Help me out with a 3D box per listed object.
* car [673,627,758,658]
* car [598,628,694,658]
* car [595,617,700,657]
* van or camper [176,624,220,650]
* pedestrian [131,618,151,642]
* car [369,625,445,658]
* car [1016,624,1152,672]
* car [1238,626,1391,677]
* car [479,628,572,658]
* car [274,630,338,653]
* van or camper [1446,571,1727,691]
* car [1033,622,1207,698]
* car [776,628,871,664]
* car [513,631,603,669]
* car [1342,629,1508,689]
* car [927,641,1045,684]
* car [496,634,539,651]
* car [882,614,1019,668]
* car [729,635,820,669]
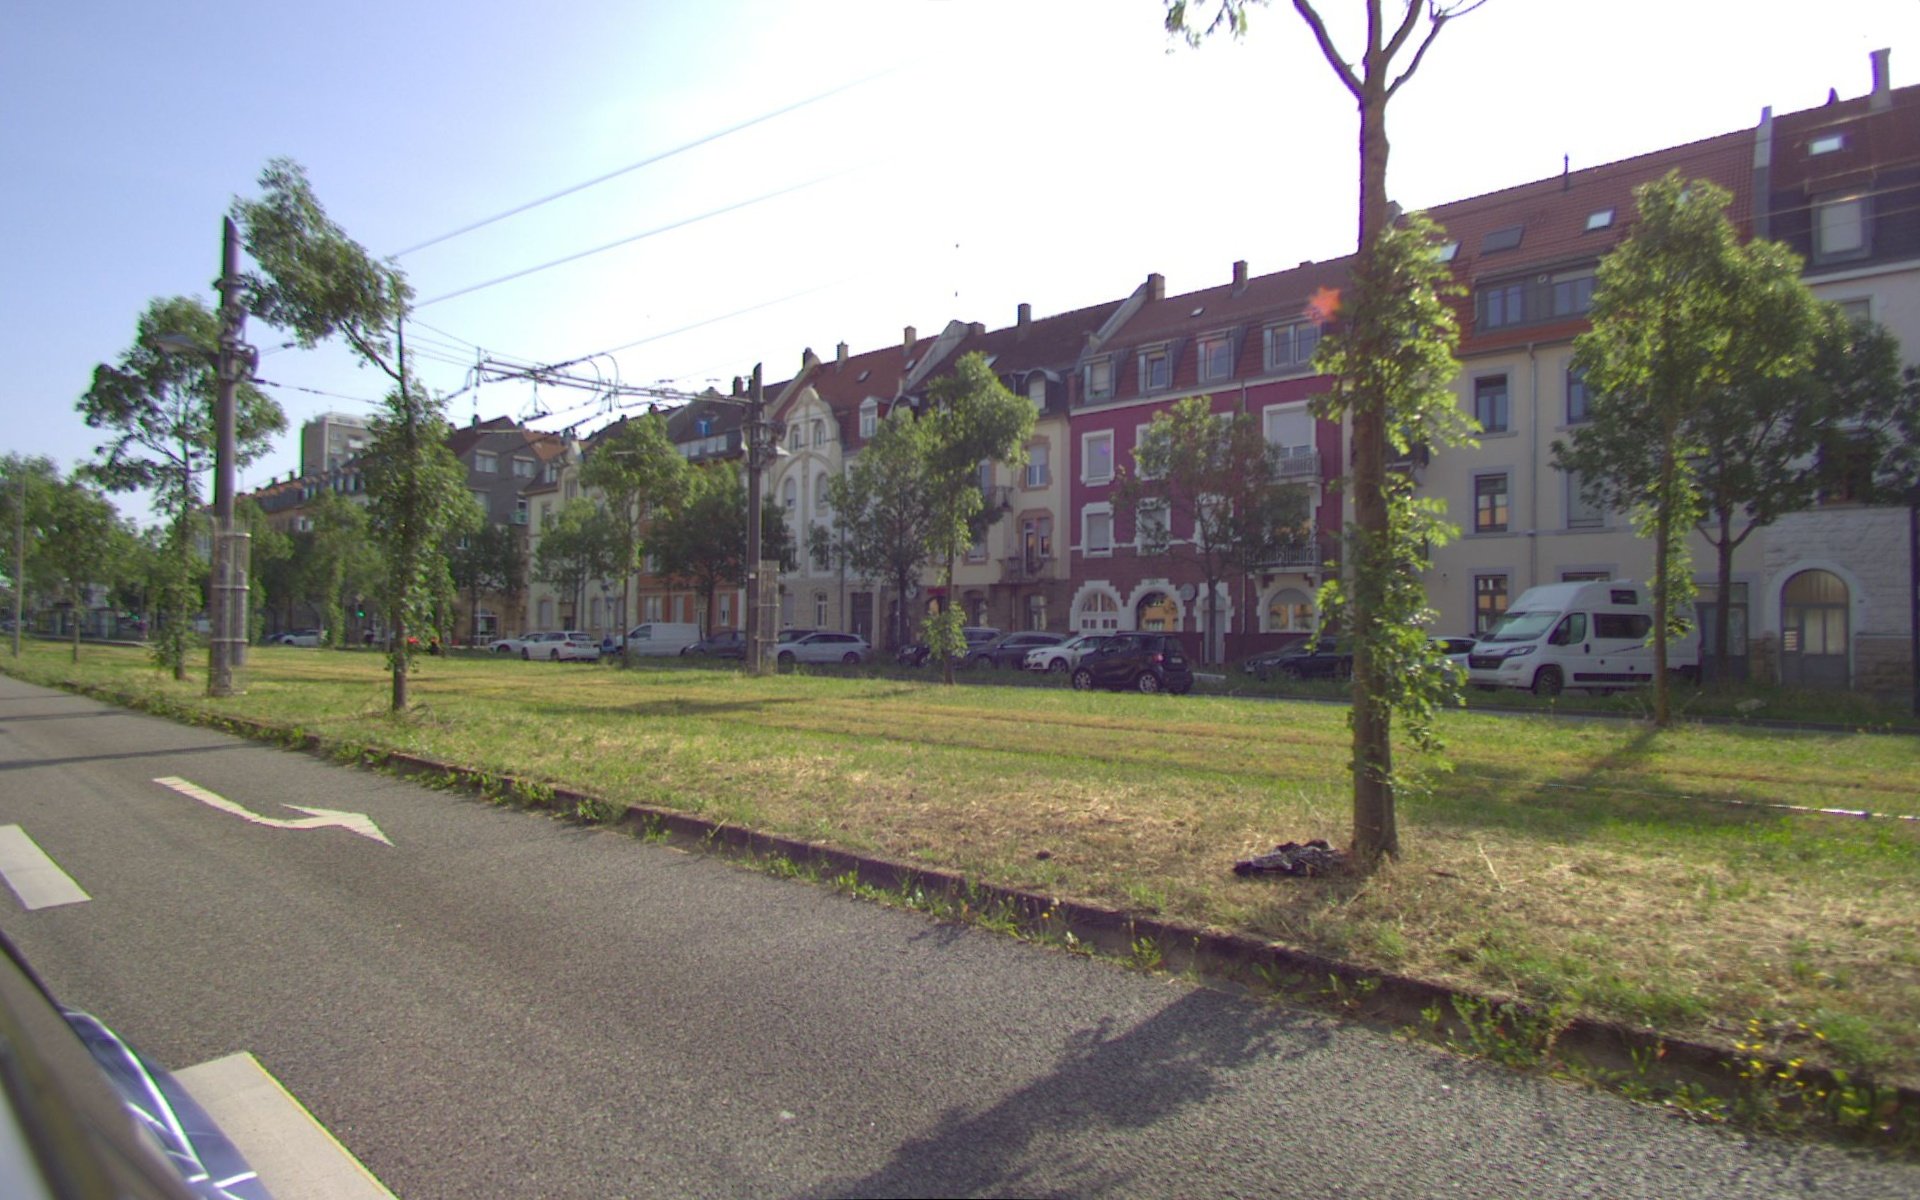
[{"bbox_3d":[-10.954,1.909,45.270,3.624,1.251,1.530,-1,-2,-15],"label":"car"},{"bbox_3d":[-16.181,2.219,52.366,4.621,1.358,1.862,-1,0,-14],"label":"car"},{"bbox_3d":[-15.328,1.793,49.871,4.869,1.739,1.862,-1,0,-14],"label":"car"},{"bbox_3d":[-65.963,3.141,87.556,5.349,2.113,1.931,-1,0,41],"label":"van or camper"},{"bbox_3d":[-57.319,2.129,70.870,0.851,1.667,0.875,-1,-2,38],"label":"pedestrian"},{"bbox_3d":[-30.746,2.243,56.209,5.377,1.642,1.973,-1,0,41],"label":"car"},{"bbox_3d":[3.922,1.504,32.222,3.947,1.326,1.667,-1,0,-15],"label":"car"},{"bbox_3d":[9.812,1.399,28.127,3.627,1.251,1.666,-1,0,-9],"label":"car"},{"bbox_3d":[-24.966,2.443,58.317,4.696,1.496,2.029,-1,0,-17],"label":"car"},{"bbox_3d":[-53.693,3.407,83.161,3.933,1.739,2.006,-1,0,-14],"label":"car"},{"bbox_3d":[14.804,0.655,24.004,5.826,2.593,2.205,-1,0,-14],"label":"van or camper"},{"bbox_3d":[3.948,1.417,25.336,4.000,1.668,1.745,-1,0,43],"label":"car"},{"bbox_3d":[-5.532,1.836,40.889,3.625,1.251,1.667,-1,0,-14],"label":"car"},{"bbox_3d":[-17.794,2.172,44.718,4.649,1.470,1.926,-1,0,43],"label":"car"},{"bbox_3d":[11.976,1.481,26.134,3.625,1.341,1.667,-1,0,-14],"label":"car"},{"bbox_3d":[0.843,2.068,33.935,3.625,1.251,1.667,-1,0,-14],"label":"car"},{"bbox_3d":[-36.383,3.517,83.201,3.998,1.309,1.650,-1,-3,41],"label":"car"},{"bbox_3d":[-0.343,1.437,36.615,4.568,1.756,1.840,-1,0,-24],"label":"car"},{"bbox_3d":[-7.849,2.186,42.745,3.624,1.251,1.667,-1,0,-15],"label":"car"}]
